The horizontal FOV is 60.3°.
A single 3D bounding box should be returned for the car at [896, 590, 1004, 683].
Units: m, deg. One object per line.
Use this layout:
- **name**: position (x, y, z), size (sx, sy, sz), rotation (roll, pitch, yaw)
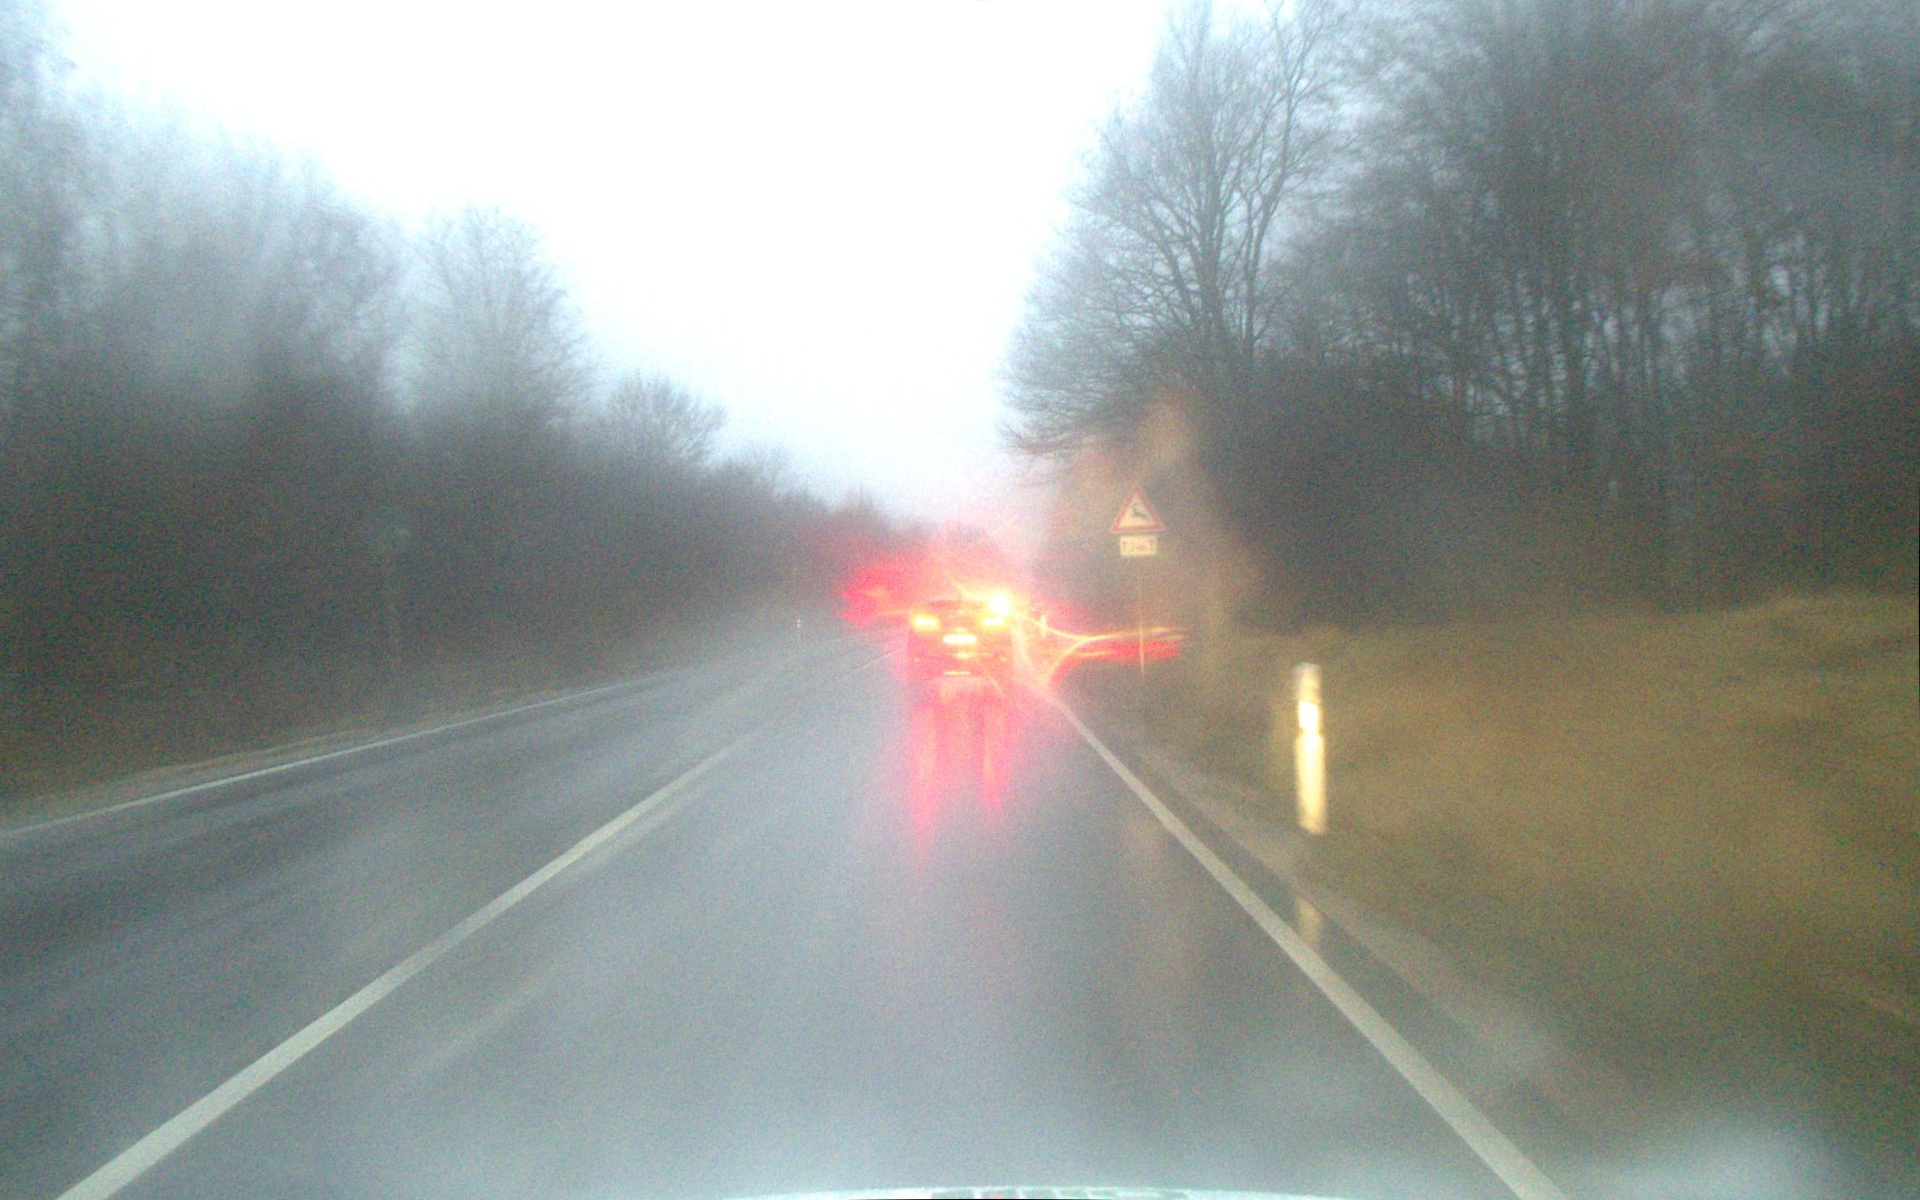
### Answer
- **car**: position (-0.106, 0.577, 28.354), size (1.644, 1.414, 4.099), rotation (-2, 0, 2)
